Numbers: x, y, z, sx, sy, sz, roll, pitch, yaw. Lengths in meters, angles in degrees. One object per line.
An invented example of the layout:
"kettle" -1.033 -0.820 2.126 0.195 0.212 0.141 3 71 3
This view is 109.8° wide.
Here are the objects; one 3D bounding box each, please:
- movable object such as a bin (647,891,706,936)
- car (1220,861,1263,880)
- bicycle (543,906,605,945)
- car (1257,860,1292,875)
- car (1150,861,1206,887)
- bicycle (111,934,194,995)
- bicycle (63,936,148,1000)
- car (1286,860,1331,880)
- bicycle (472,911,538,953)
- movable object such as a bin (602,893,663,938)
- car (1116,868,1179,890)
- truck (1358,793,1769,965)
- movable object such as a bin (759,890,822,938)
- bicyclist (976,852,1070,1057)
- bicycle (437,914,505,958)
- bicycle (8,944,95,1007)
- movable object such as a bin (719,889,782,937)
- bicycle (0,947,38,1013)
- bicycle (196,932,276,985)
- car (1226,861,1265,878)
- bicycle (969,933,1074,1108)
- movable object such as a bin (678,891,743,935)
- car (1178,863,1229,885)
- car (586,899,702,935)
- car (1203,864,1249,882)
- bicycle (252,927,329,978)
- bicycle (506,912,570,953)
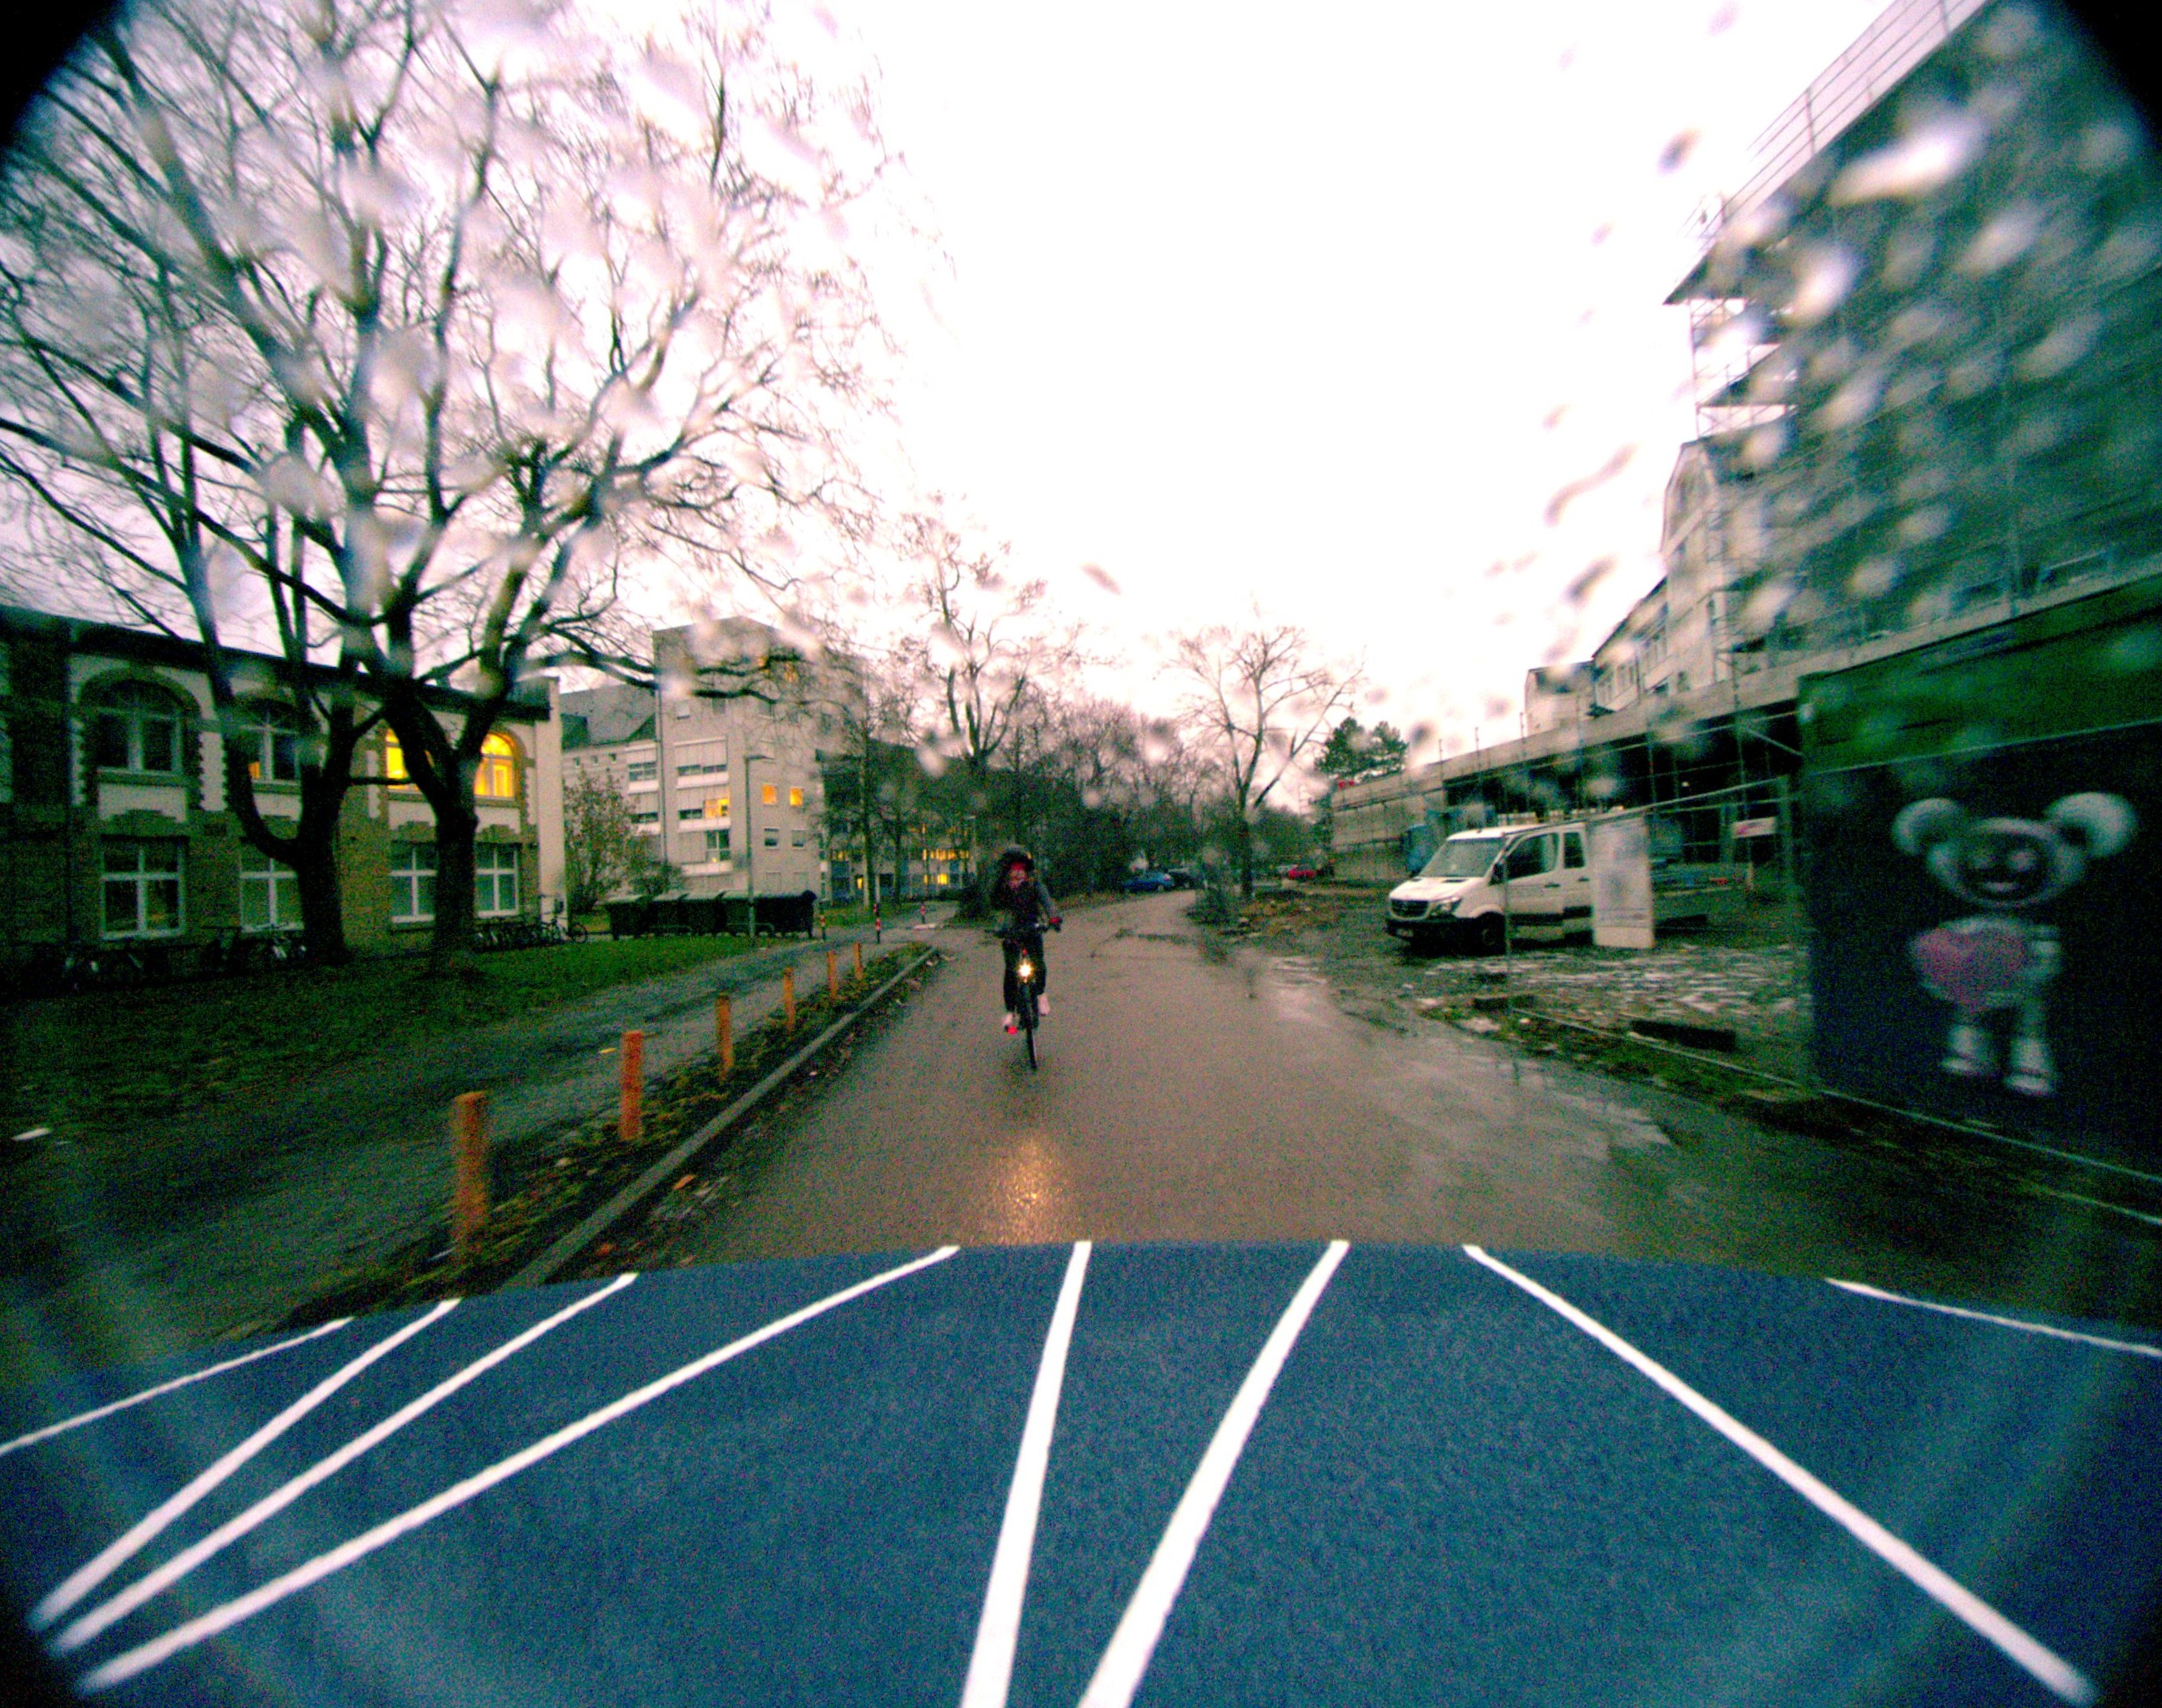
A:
"movable object such as a bin" -12.484 1.828 23.455 1.249 1.272 0.989 -2 0 18
"car" 16.833 1.725 79.770 3.990 1.785 1.805 -3 -1 25
"bicycle" -15.987 2.254 23.937 2.136 1.150 0.574 -3 0 25
"car" 24.702 1.759 97.052 3.990 1.785 1.805 -3 -1 25
"car" 7.801 1.609 61.079 3.990 1.980 2.003 -3 -1 25
"bicycle" -19.375 2.276 15.845 2.136 1.150 0.574 -3 0 25
"bicycle" -19.624 2.259 15.276 2.136 1.150 0.574 -3 0 25
"car" 18.570 1.305 62.040 3.302 1.514 1.707 -2 -1 21
"bicycle" -16.796 2.262 22.145 2.136 1.150 0.574 -3 0 25
"movable object such as a bin" -13.956 1.902 23.666 1.261 1.306 0.989 -2 0 18
"car" 4.918 1.841 55.842 4.171 1.468 2.004 -2 -3 22
"truck" 9.158 0.389 14.520 7.083 2.572 2.130 -4 0 -13
"movable object such as a bin" -8.360 1.713 21.910 1.322 1.309 1.064 -1 0 5
"bicyclist" -0.490 0.839 6.691 0.706 1.679 0.771 -2 0 0
"bicycle" -17.114 2.293 21.312 2.136 1.150 0.574 -3 0 25
"bicycle" -19.903 2.321 14.681 2.136 1.011 0.574 -1 0 25
"movable object such as a bin" -9.713 1.731 22.355 1.305 1.306 0.989 -2 0 18
"bicycle" -20.161 2.315 14.080 2.136 1.044 0.574 -1 0 25
"bicycle" -18.926 2.309 17.006 2.136 1.085 0.574 -3 0 25
"car" 18.938 1.754 87.264 3.990 1.785 1.805 -3 -1 25
"bicycle" -0.460 1.354 6.689 0.730 1.126 1.894 -2 -1 0
"movable object such as a bin" -11.127 1.764 22.865 1.435 1.217 0.989 -2 -1 18
"car" 10.896 1.773 67.560 3.990 1.785 1.805 -3 -1 25
"car" -19.558 2.802 34.158 1.995 1.273 4.007 -3 -1 28
"car" 14.278 1.855 74.669 3.990 1.652 2.003 -3 -1 25
"bicycle" -18.585 2.296 17.855 2.136 1.104 0.574 -3 0 25
"bicycle" -16.520 2.381 23.103 2.136 1.150 0.574 -3 0 25
